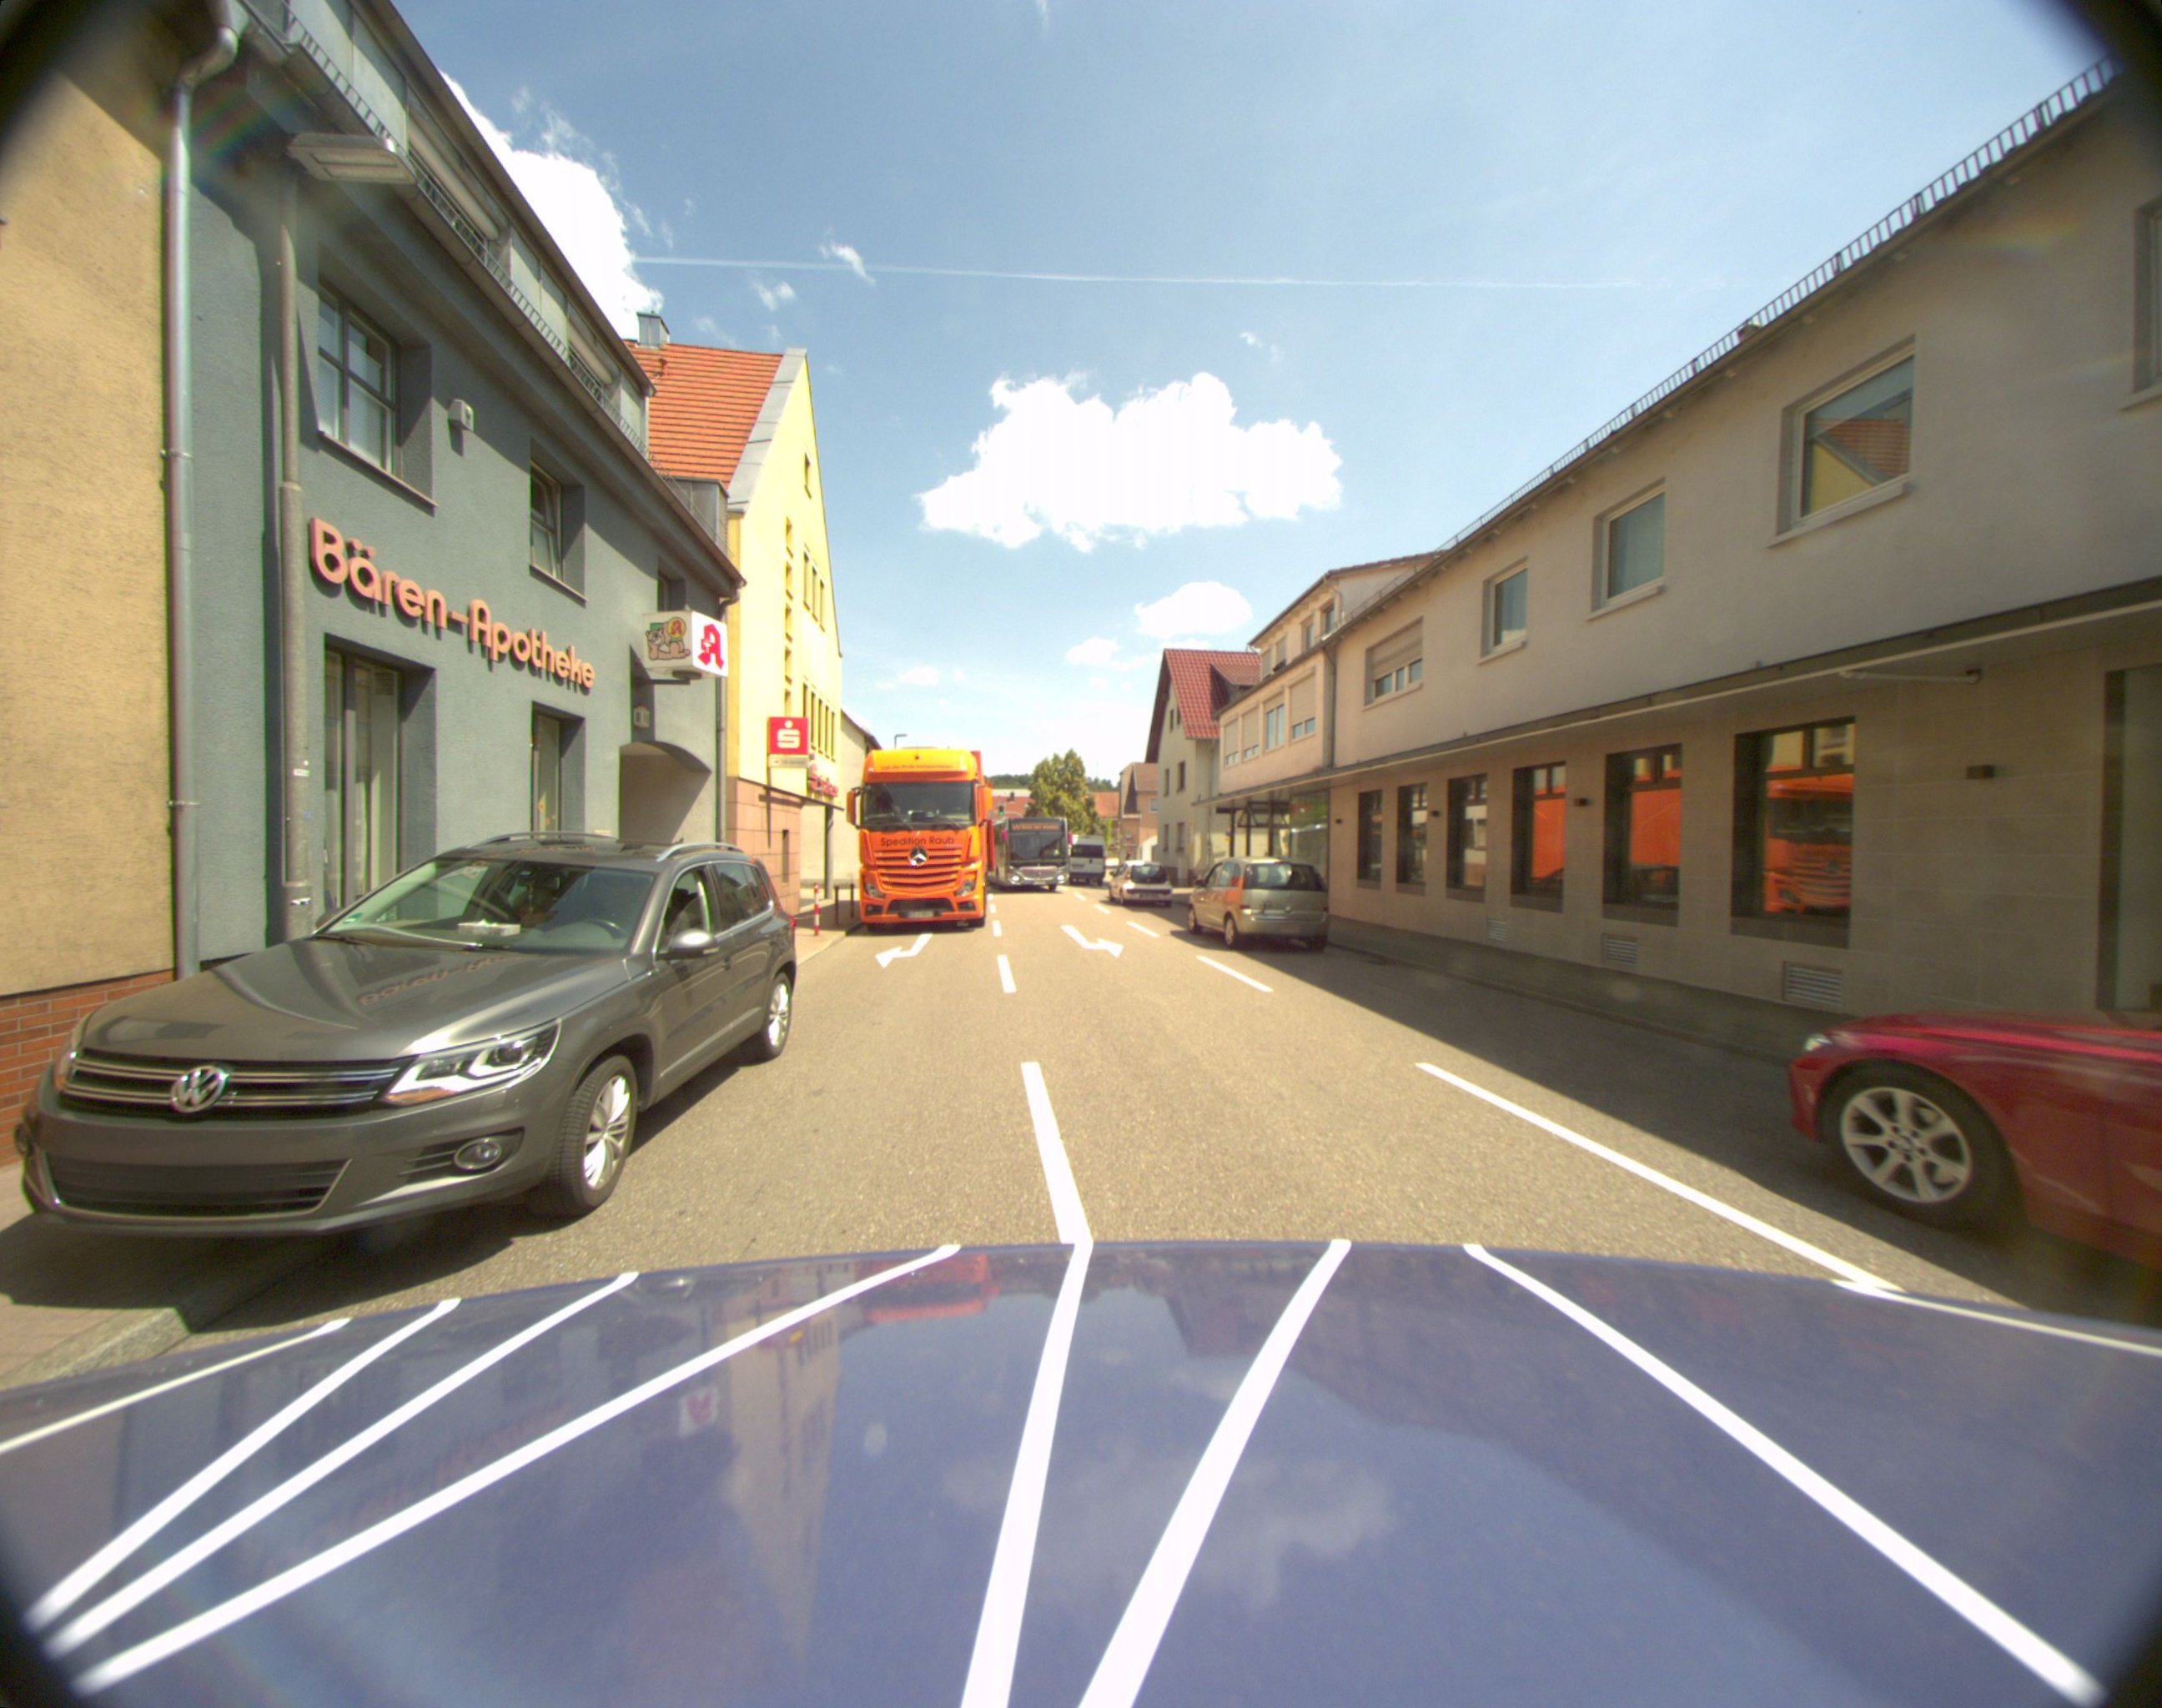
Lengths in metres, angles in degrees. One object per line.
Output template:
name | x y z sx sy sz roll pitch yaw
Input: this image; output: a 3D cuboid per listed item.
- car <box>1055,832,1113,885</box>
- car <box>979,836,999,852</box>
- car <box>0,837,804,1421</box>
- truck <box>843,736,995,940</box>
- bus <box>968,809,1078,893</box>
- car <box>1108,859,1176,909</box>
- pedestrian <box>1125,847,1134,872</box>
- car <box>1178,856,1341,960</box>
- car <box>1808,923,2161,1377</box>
car | 0.075 0.213 39.701 2.147 2.554 5.389 2 0 -8
car | -8.644 -0.957 71.385 1.602 1.447 3.443 2 0 -11
car | -3.188 0.811 4.280 1.999 1.699 4.098 2 0 -5
truck | -3.738 -0.299 19.912 2.616 3.922 9.987 -2 0 -5
bus | -3.558 -0.114 38.368 2.862 3.186 19.011 -1 0 -12
car | 1.969 0.960 25.351 1.601 1.447 3.445 2 0 -6
pedestrian | 3.324 0.372 52.215 0.472 1.754 0.477 0 2 -28
car | 3.166 0.902 14.282 1.684 1.607 3.819 4 -1 -7
car | 4.513 1.037 1.547 1.723 1.400 4.283 2 -1 -5
